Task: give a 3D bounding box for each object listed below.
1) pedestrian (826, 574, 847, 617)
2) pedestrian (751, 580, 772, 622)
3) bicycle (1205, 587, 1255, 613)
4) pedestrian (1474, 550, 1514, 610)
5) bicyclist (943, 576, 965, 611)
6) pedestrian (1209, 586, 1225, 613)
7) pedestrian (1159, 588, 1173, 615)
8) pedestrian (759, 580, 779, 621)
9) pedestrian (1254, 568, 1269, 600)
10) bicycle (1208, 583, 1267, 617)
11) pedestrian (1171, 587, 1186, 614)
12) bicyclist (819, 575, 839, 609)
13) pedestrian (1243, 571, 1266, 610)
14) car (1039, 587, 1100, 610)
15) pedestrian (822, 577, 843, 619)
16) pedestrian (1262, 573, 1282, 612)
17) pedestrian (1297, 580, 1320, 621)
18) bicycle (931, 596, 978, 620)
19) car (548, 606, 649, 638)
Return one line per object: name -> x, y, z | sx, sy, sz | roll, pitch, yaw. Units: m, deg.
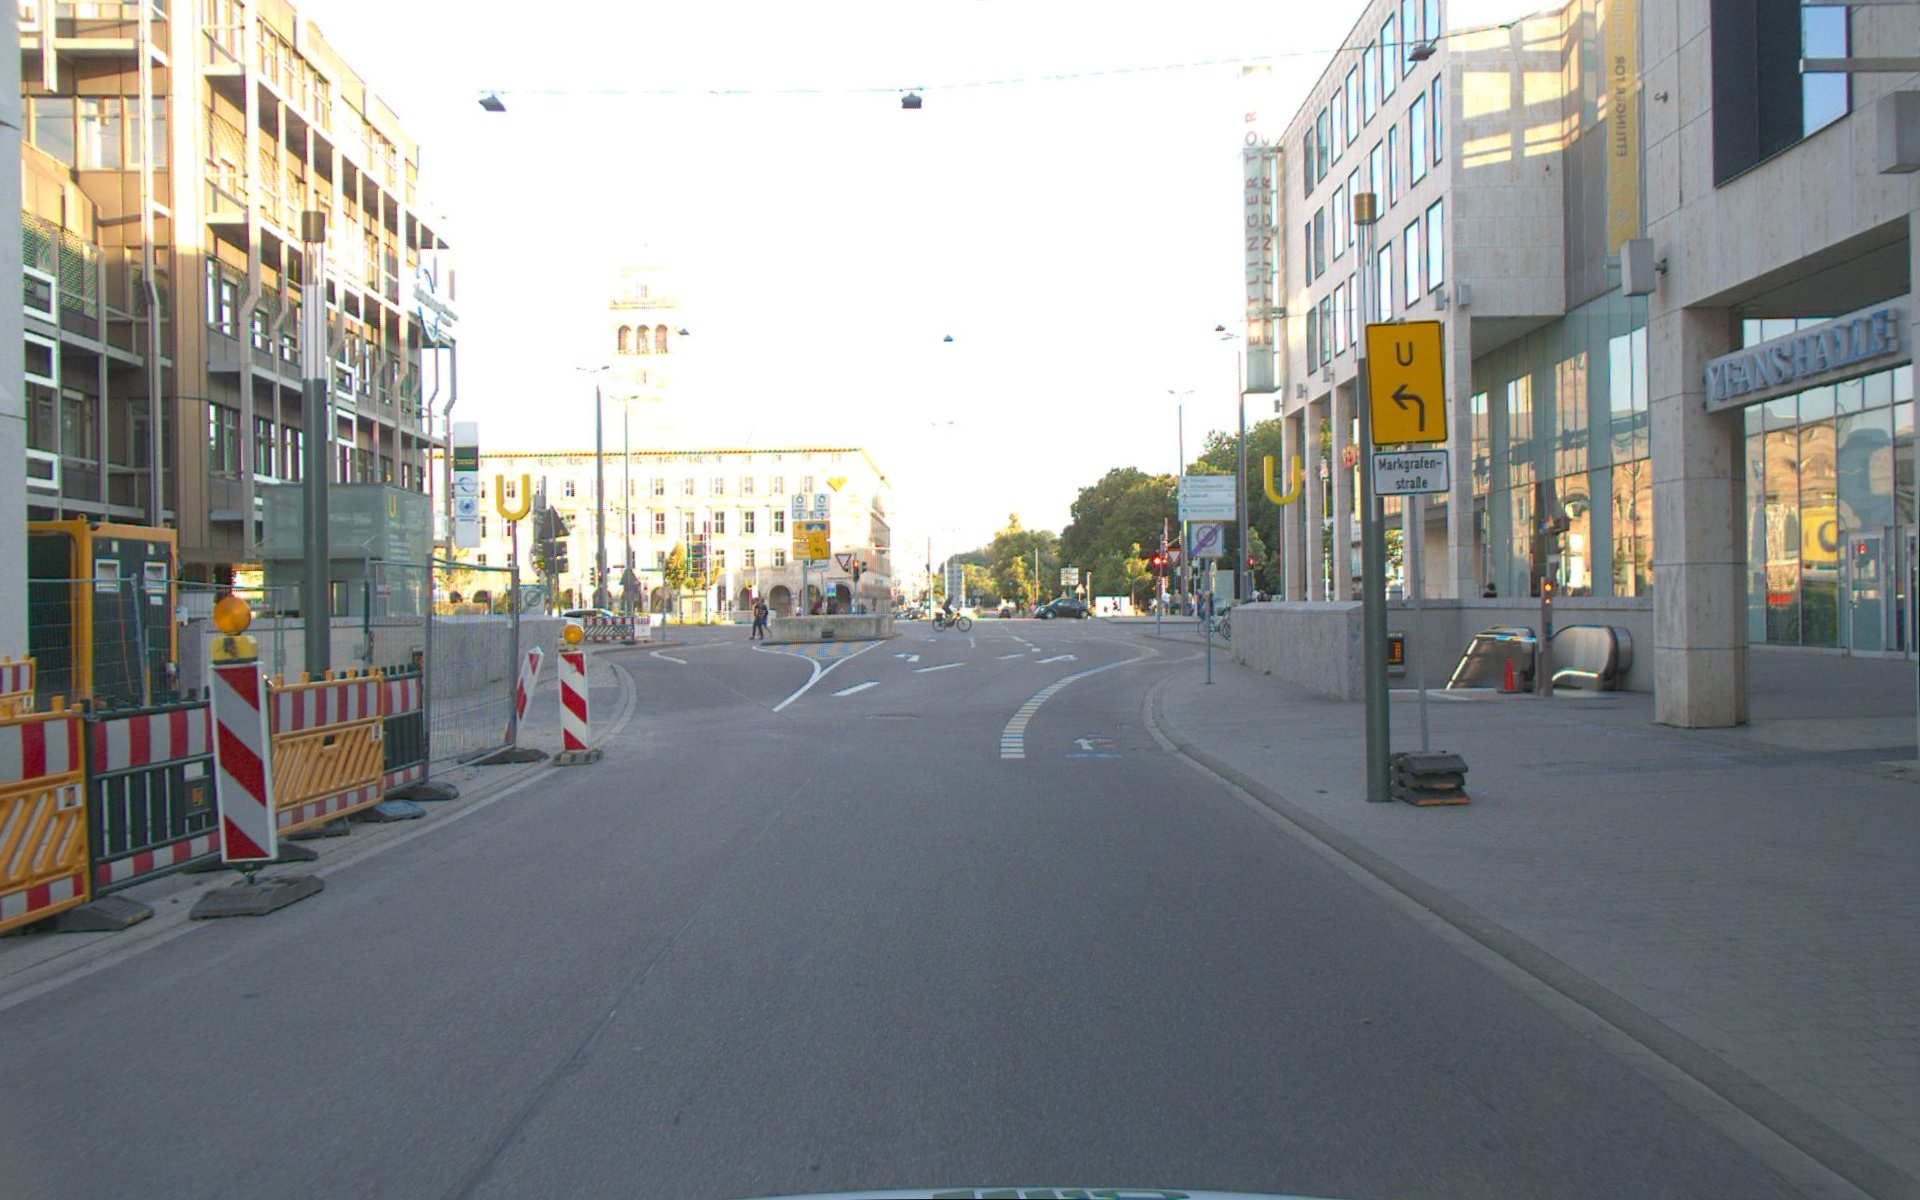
pedestrian -> -5.281, -0.194, 70.542 | 0.725, 1.808, 0.861 | -2, -1, -12
pedestrian -> -8.860, 0.035, 73.837 | 0.724, 1.808, 0.863 | -4, -1, -3
bicycle -> 10.451, -0.002, 64.063 | 1.829, 0.953, 0.516 | -1, -1, -2
pedestrian -> 16.780, -0.617, 52.026 | 0.843, 1.808, 0.990 | -3, -1, -1
bicyclist -> -0.292, -0.315, 79.174 | 0.999, 1.649, 0.653 | -1, -1, 0
pedestrian -> 17.095, -0.034, 109.961 | 0.677, 1.760, 0.804 | -1, -1, -26
pedestrian -> 13.533, 0.098, 108.610 | 0.792, 1.760, 0.687 | -1, -1, -2
pedestrian -> -8.612, 0.032, 74.610 | 0.724, 1.808, 0.863 | -4, -1, -3
pedestrian -> 16.489, -0.870, 90.374 | 0.677, 1.760, 0.741 | -1, -1, 2
bicycle -> 9.172, -0.006, 54.635 | 1.858, 1.066, 0.571 | -1, -1, 5
pedestrian -> 14.342, 0.057, 108.626 | 0.792, 1.760, 0.687 | -1, -1, -2
bicyclist -> -6.230, -0.375, 78.850 | 0.861, 1.558, 0.653 | -1, -1, 1
pedestrian -> 14.056, -0.466, 78.969 | 0.843, 1.808, 0.741 | -4, -1, 1
car -> 7.632, -0.096, 115.753 | 3.914, 1.520, 1.824 | -1, -1, -9
pedestrian -> -5.510, -0.092, 71.562 | 0.726, 1.808, 0.859 | 0, -1, -17
pedestrian -> 14.890, -0.365, 78.965 | 0.740, 1.808, 0.741 | -4, -1, 1
pedestrian -> 16.430, 0.033, 78.061 | 0.875, 1.872, 0.688 | -1, -1, -1
bicycle -> -0.265, 0.388, 79.159 | 2.196, 1.081, 0.653 | -2, -1, 0
car -> -18.588, 1.130, 85.185 | 4.699, 1.522, 2.127 | -1, -1, -1
